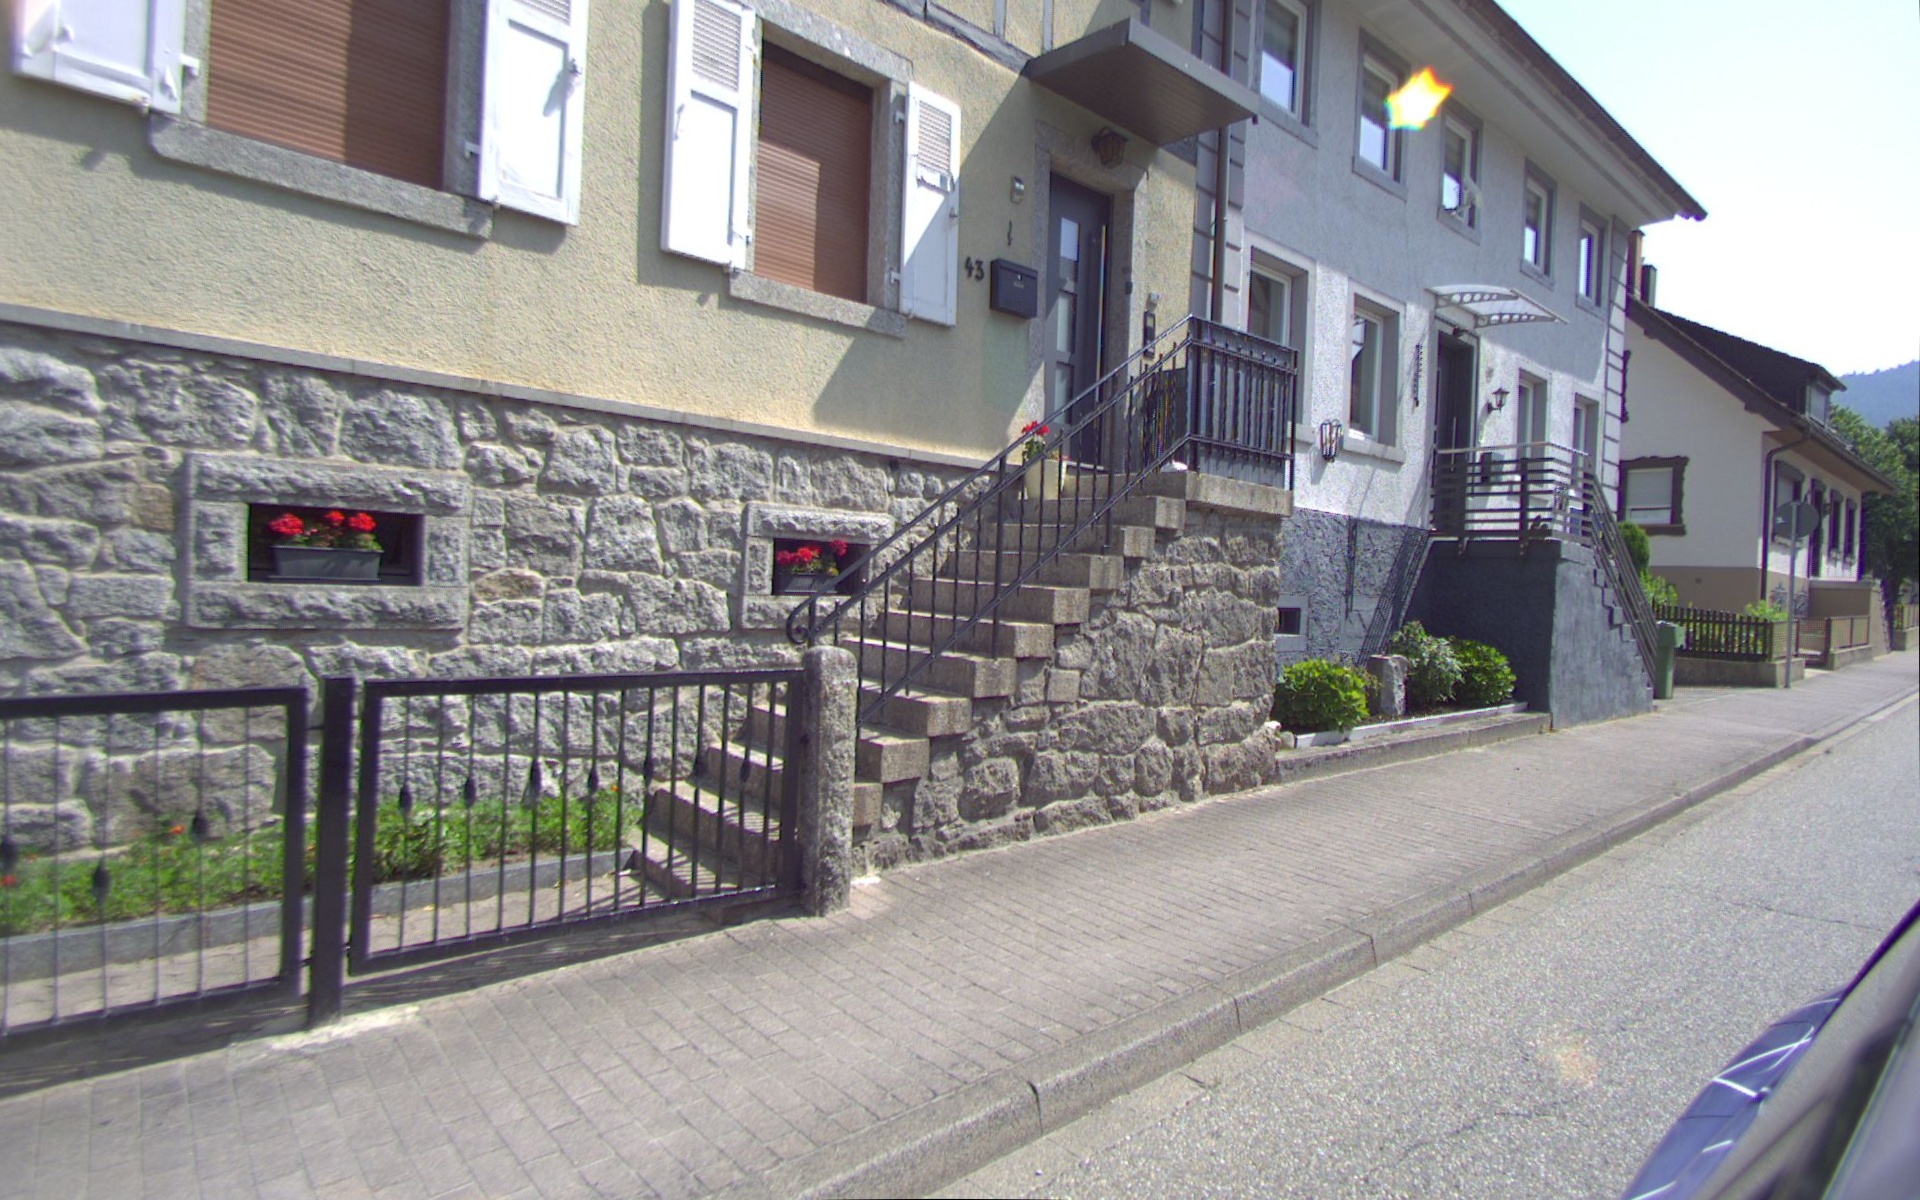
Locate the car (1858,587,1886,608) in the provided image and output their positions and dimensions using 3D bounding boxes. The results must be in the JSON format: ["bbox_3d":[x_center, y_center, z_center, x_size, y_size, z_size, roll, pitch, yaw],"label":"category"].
[{"bbox_3d":[95.656,-0.260,106.173,1.993,2.040,3.936,-2,-3,44],"label":"car"}]

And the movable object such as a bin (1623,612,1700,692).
[{"bbox_3d":[9.691,0.703,13.989,0.607,1.033,0.706,0,2,-40],"label":"movable object such as a bin"}]
